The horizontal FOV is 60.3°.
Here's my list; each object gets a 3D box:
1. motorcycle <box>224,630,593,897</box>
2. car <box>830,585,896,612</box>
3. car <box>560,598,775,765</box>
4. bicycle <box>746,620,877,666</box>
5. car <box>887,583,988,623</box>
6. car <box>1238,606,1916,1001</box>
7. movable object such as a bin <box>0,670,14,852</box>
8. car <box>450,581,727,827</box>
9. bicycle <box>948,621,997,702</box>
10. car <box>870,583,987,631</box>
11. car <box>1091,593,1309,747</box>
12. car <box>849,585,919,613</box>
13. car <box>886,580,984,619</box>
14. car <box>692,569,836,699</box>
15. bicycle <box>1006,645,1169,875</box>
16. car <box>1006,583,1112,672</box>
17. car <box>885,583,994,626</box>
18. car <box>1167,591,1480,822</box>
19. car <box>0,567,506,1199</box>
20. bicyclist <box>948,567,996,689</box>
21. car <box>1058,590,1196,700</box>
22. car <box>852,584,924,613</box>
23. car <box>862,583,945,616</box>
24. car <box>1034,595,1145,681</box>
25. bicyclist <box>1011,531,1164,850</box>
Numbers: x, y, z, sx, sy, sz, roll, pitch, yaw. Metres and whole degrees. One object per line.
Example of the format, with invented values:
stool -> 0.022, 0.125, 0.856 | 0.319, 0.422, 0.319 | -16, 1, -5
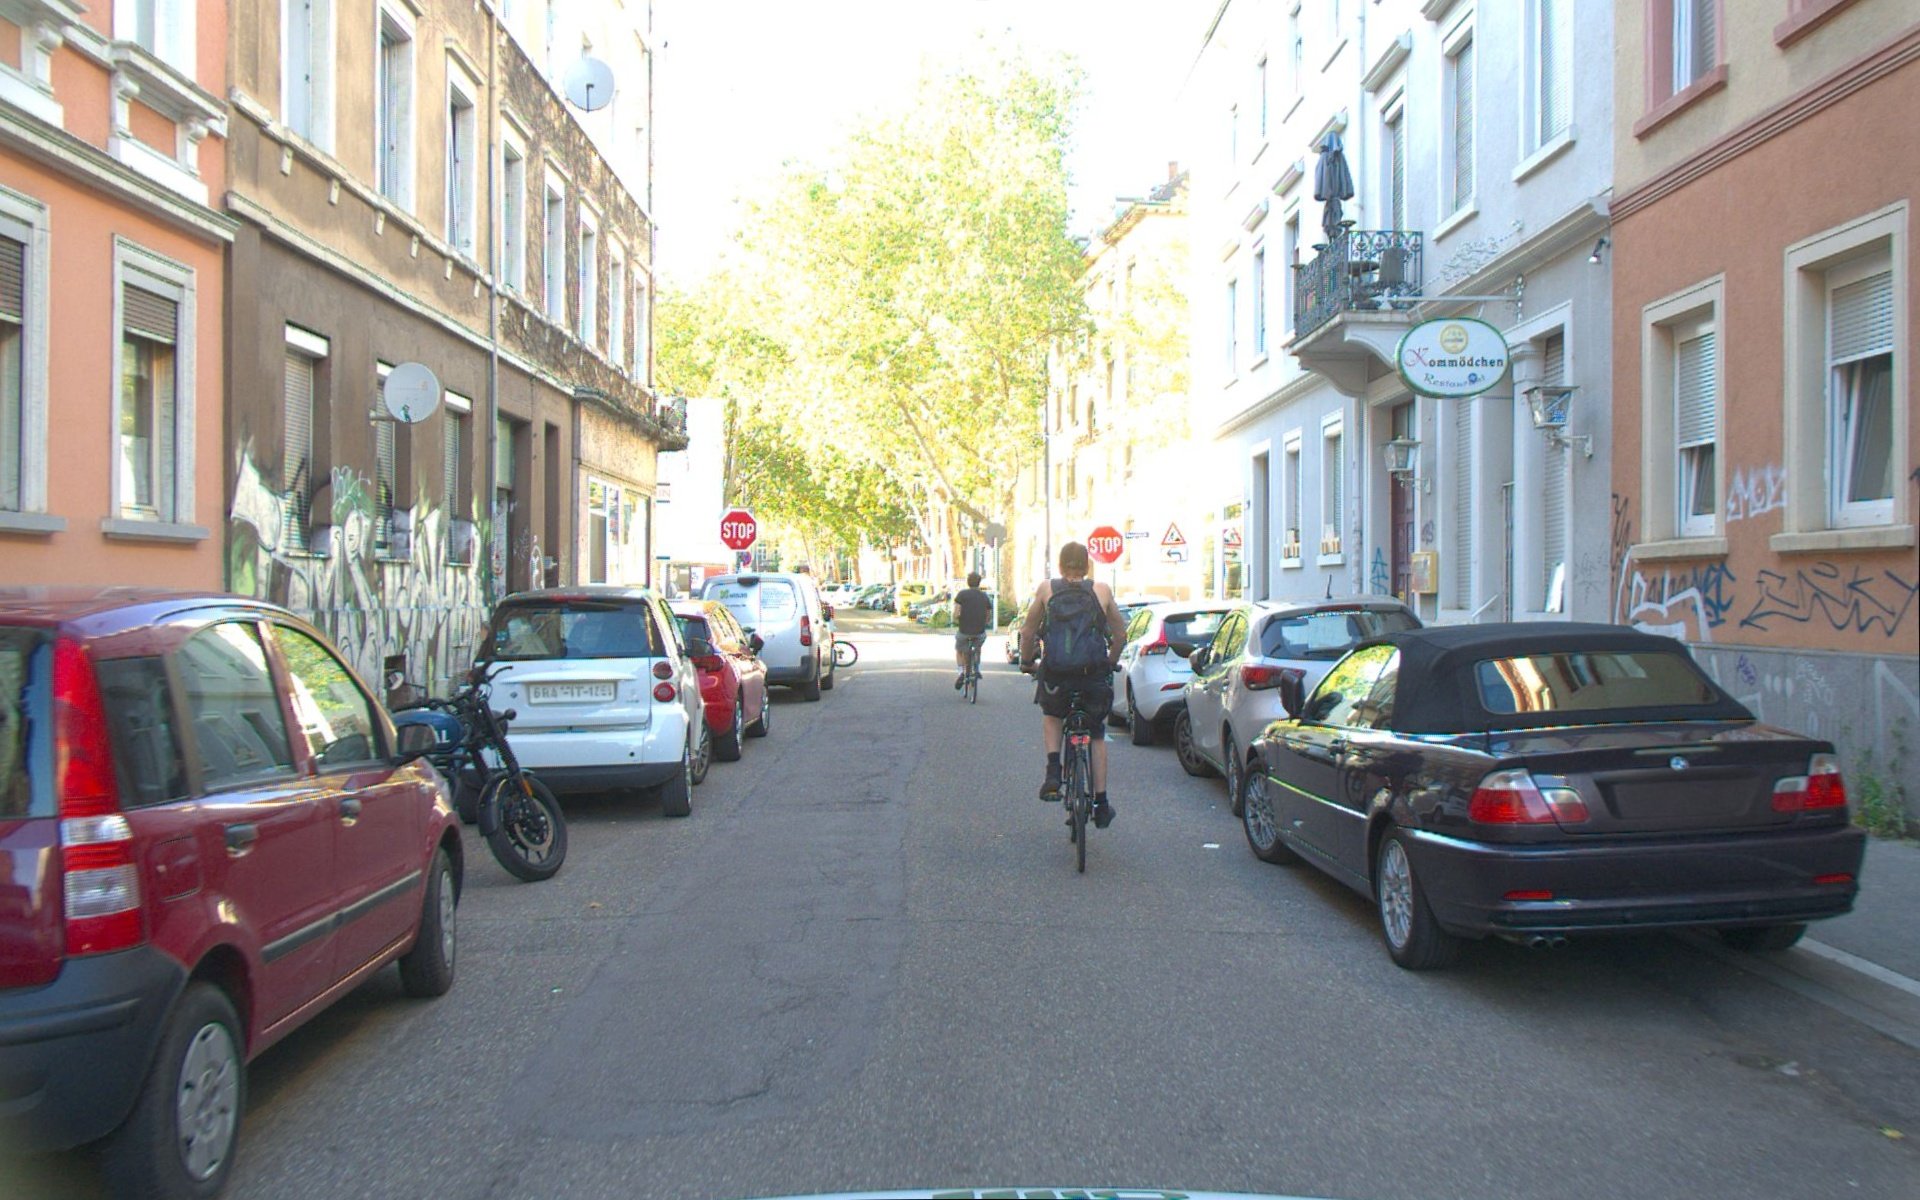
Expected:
motorcycle -> -2.852, 0.815, 8.714 | 1.766, 1.278, 0.707 | -1, 0, -15
car -> -6.562, -0.115, 111.754 | 4.382, 1.725, 1.864 | 0, 0, -6
car -> -2.748, 0.707, 16.232 | 1.521, 1.424, 3.667 | 0, 0, -1
bicycle -> -3.039, 0.882, 34.032 | 2.662, 0.907, 0.618 | 0, 0, -4
car -> -1.031, 0.143, 73.664 | 4.382, 1.725, 1.864 | 0, 0, -6
car -> 2.573, 0.737, 7.964 | 1.624, 1.361, 3.998 | 0, 0, -3
movable object such as a bin -> -5.051, 0.673, 7.675 | 0.817, 1.146, 0.716 | -5, 0, 1
car -> -2.651, 0.659, 12.469 | 1.514, 1.578, 3.462 | 0, 0, -4
bicycle -> 0.160, 0.850, 23.430 | 0.650, 1.055, 1.958 | 0, 0, -1
car -> -1.246, 0.249, 64.125 | 4.382, 1.790, 1.864 | 0, 0, -6
car -> 2.543, 0.685, 18.401 | 1.676, 1.496, 3.998 | 0, 0, -3
car -> -4.866, -0.079, 105.097 | 4.382, 1.725, 1.864 | 0, 0, -6
car -> -1.190, -0.015, 76.144 | 4.382, 1.725, 1.864 | 0, 0, -6
car -> -2.840, 0.453, 24.668 | 1.751, 1.767, 3.875 | 0, 0, -1
bicycle -> 0.693, 0.863, 9.652 | 0.725, 1.120, 2.041 | 2, 0, -1
car -> 2.080, 0.549, 35.899 | 1.855, 1.800, 3.998 | 0, 0, -3
car -> -0.884, 0.167, 68.919 | 4.382, 1.725, 1.864 | 0, 0, -6
car -> 2.665, 0.696, 12.945 | 1.559, 1.518, 3.875 | 0, 0, -1
car -> -2.603, 0.718, 5.095 | 1.573, 1.556, 3.377 | -1, 0, -3
bicyclist -> 0.165, 0.389, 23.385 | 0.656, 1.687, 0.877 | 0, 0, -1
car -> 2.503, 0.637, 25.508 | 1.619, 1.557, 3.573 | 0, 0, -3
car -> -4.465, -0.072, 101.934 | 4.382, 1.725, 1.864 | 0, 0, -6
car -> -3.066, -0.051, 88.960 | 4.382, 1.725, 1.864 | 0, 0, -6
car -> 2.375, 0.660, 31.080 | 1.653, 1.497, 3.573 | 0, 0, -3
bicyclist -> 0.707, 0.490, 9.511 | 0.725, 1.708, 1.116 | 2, 0, -1
